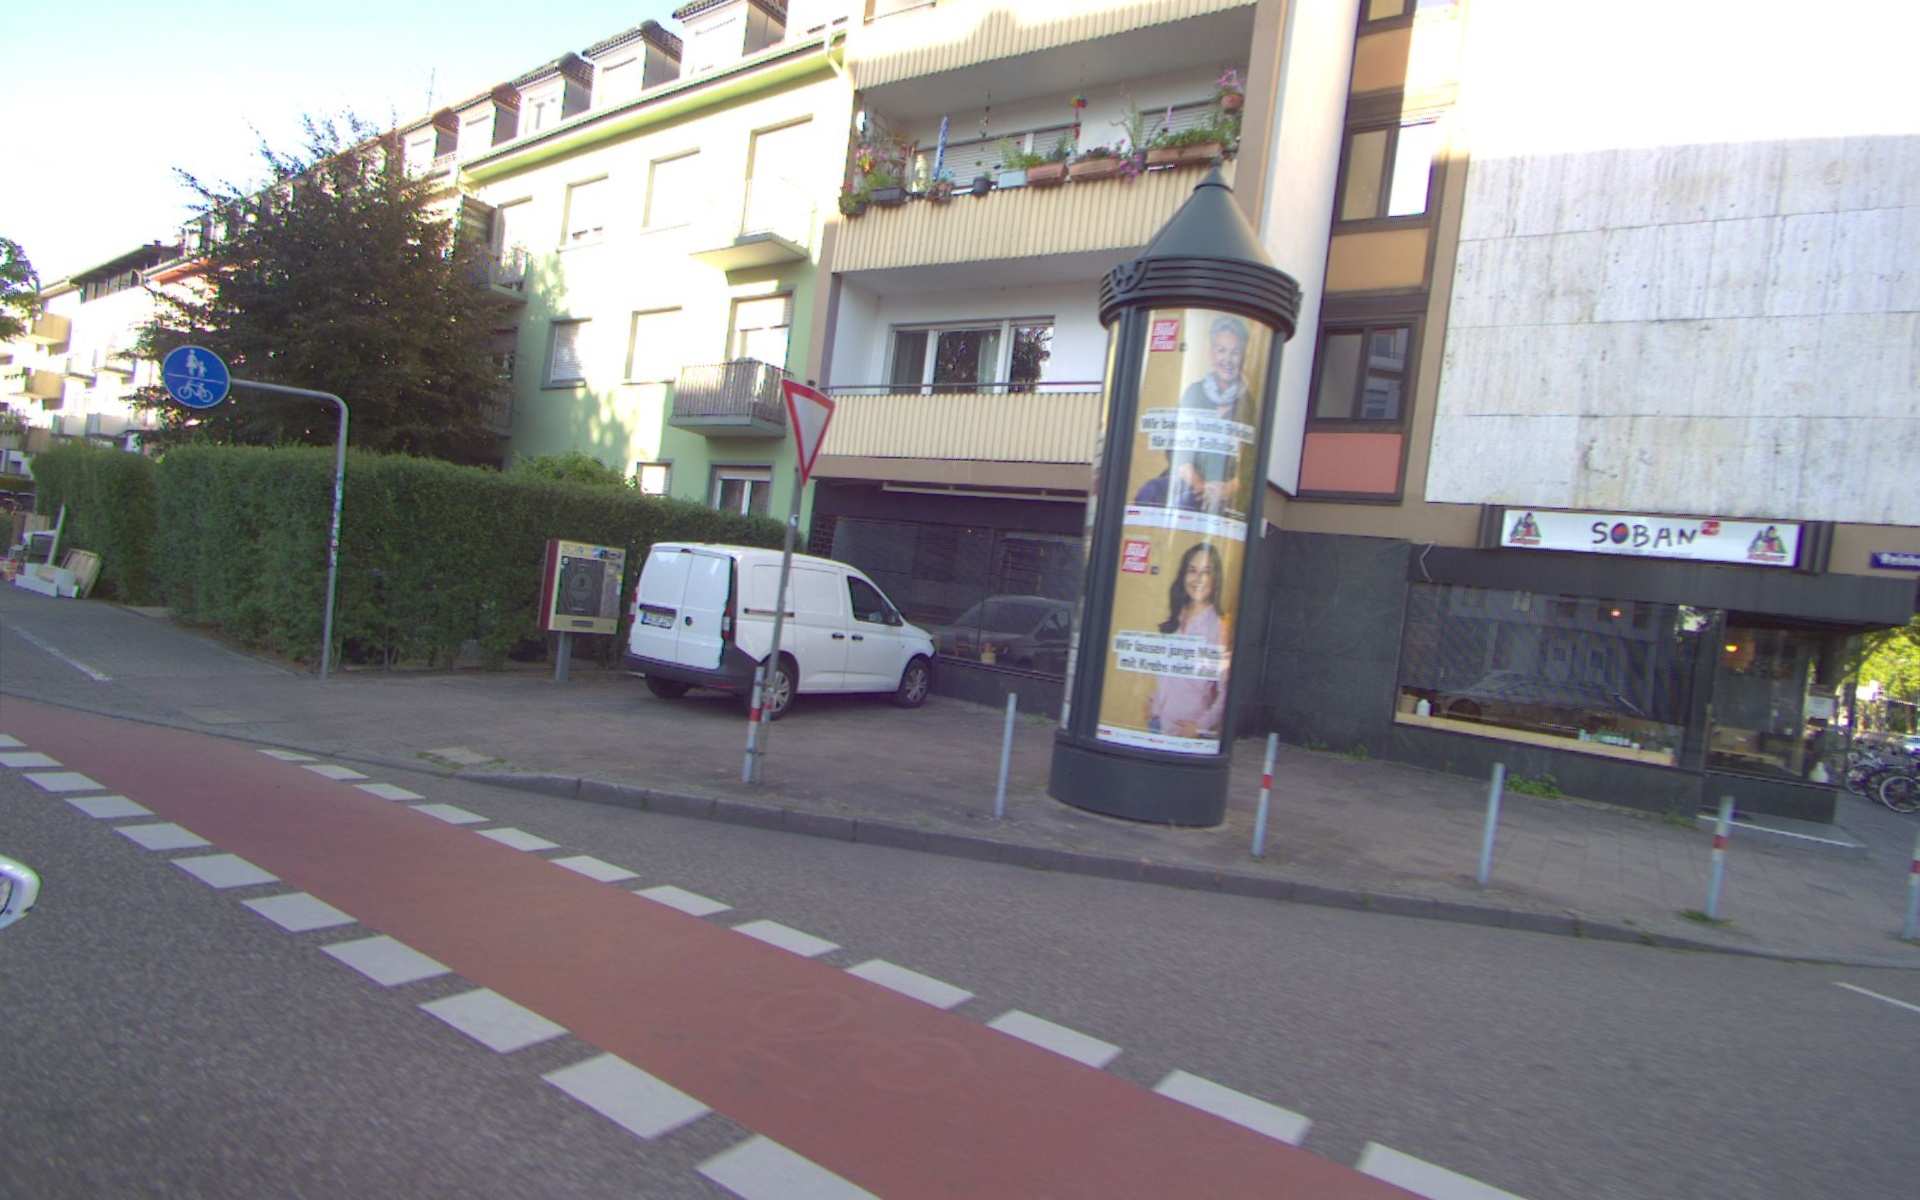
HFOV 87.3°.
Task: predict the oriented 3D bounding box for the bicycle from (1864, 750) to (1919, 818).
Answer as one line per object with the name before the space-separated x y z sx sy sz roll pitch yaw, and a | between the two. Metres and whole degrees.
bicycle | 18.267 3.540 18.723 1.973 1.110 0.527 8 1 28

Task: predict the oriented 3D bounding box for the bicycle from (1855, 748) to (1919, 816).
bicycle | 18.576 3.586 19.257 1.973 1.110 0.527 8 1 28

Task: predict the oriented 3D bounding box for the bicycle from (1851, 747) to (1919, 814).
bicycle | 18.939 3.639 19.746 1.973 1.110 0.527 8 1 28

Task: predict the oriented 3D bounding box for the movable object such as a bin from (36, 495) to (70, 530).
movable object such as a bin | -29.633 -2.870 32.865 0.784 1.015 0.611 8 1 37

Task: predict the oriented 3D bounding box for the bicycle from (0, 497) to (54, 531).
bicycle | -29.561 -2.711 31.731 0.359 0.864 1.359 8 0 37

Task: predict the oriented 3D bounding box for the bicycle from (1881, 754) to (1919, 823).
bicycle | 17.398 3.413 17.412 1.976 1.110 0.526 8 1 35

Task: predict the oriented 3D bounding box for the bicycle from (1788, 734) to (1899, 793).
bicycle | 22.692 4.192 25.884 1.973 1.110 0.527 8 1 28

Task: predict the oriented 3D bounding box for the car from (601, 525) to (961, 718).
car | -1.979 0.344 12.307 1.832 1.836 4.090 8 0 34

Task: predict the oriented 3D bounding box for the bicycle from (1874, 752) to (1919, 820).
bicycle | 17.786 3.470 17.989 1.976 1.110 0.526 8 1 35

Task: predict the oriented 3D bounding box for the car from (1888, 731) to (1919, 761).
car | 63.392 9.759 66.768 1.742 1.727 3.991 8 0 33

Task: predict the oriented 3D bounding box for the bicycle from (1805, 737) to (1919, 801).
bicycle | 21.824 4.063 24.301 1.973 1.110 0.527 8 1 28

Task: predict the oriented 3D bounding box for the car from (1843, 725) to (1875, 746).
car | 94.992 14.308 106.315 1.742 1.727 3.991 8 0 33

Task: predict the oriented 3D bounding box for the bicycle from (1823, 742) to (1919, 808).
bicycle | 20.066 3.806 21.722 1.973 1.110 0.527 8 1 28

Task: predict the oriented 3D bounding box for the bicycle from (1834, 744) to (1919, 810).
bicycle | 19.555 3.730 20.870 1.973 1.110 0.527 8 1 30

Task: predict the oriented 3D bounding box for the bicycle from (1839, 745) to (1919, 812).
bicycle | 19.220 3.681 20.351 1.973 1.110 0.527 8 1 30

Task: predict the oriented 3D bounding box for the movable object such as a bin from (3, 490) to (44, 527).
movable object such as a bin | -30.059 -2.933 32.279 0.784 1.015 0.776 8 1 37

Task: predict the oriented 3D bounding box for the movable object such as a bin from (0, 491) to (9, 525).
movable object such as a bin | -30.504 -2.945 31.716 0.784 1.015 0.582 8 1 37

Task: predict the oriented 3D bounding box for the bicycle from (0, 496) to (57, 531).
bicycle | -29.211 -2.705 31.447 0.363 0.864 1.369 8 0 38

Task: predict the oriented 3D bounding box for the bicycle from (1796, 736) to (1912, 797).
bicycle | 22.106 4.105 24.915 1.973 1.110 0.527 8 1 28

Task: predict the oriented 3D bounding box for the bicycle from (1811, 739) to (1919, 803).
bicycle | 21.270 3.982 23.473 1.973 1.110 0.527 8 1 28
